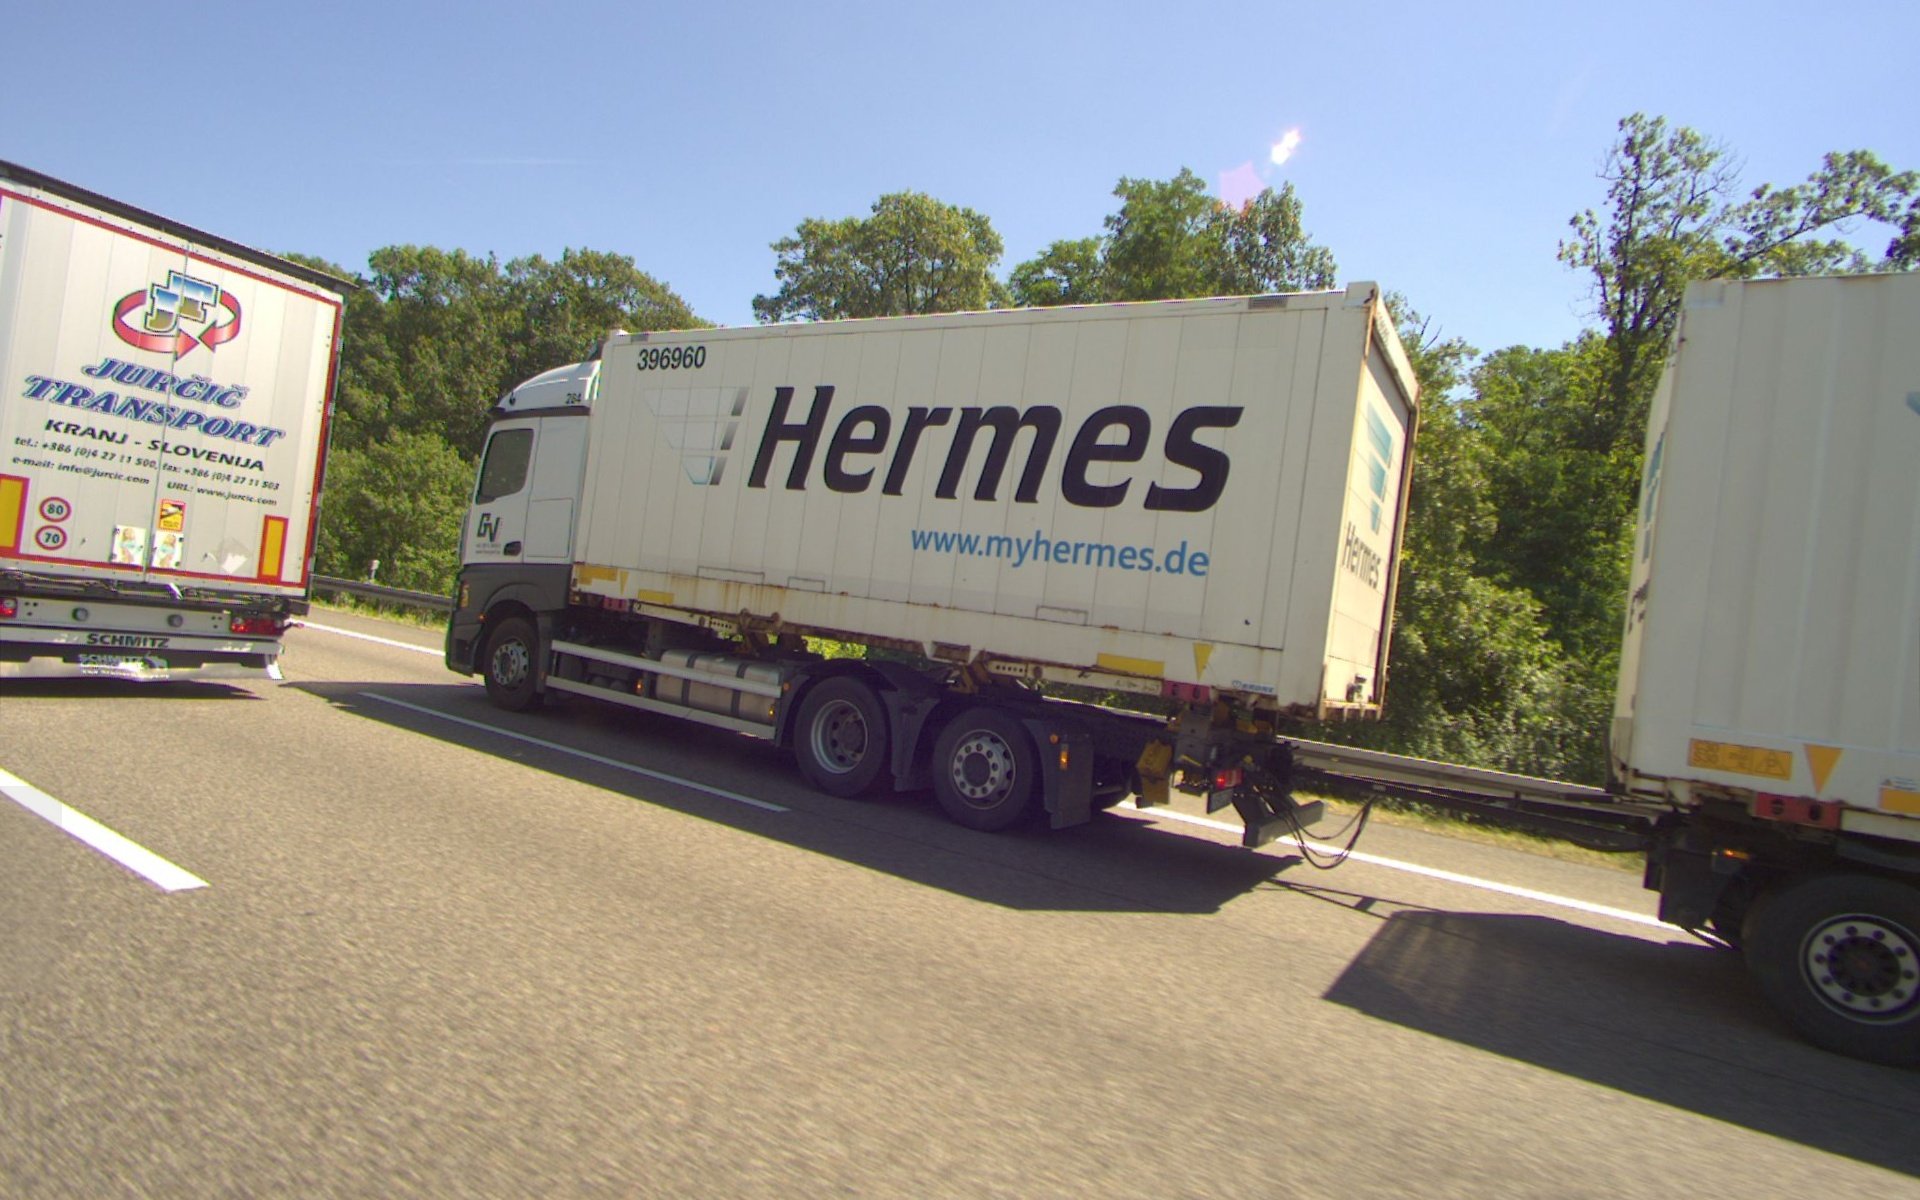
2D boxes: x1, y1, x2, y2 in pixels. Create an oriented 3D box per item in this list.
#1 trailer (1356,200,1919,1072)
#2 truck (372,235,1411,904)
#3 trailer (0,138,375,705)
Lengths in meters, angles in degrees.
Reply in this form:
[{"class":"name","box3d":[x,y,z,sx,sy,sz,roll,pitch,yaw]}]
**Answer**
[{"class":"trailer","box3d":[7.916,0.557,4.116,11.077,4.106,2.560,6,-2,32]},{"class":"truck","box3d":[-1.550,-0.558,10.096,10.493,4.178,2.531,6,-2,32]},{"class":"trailer","box3d":[-12.097,-1.795,11.788,13.429,4.021,2.745,6,-2,32]}]
